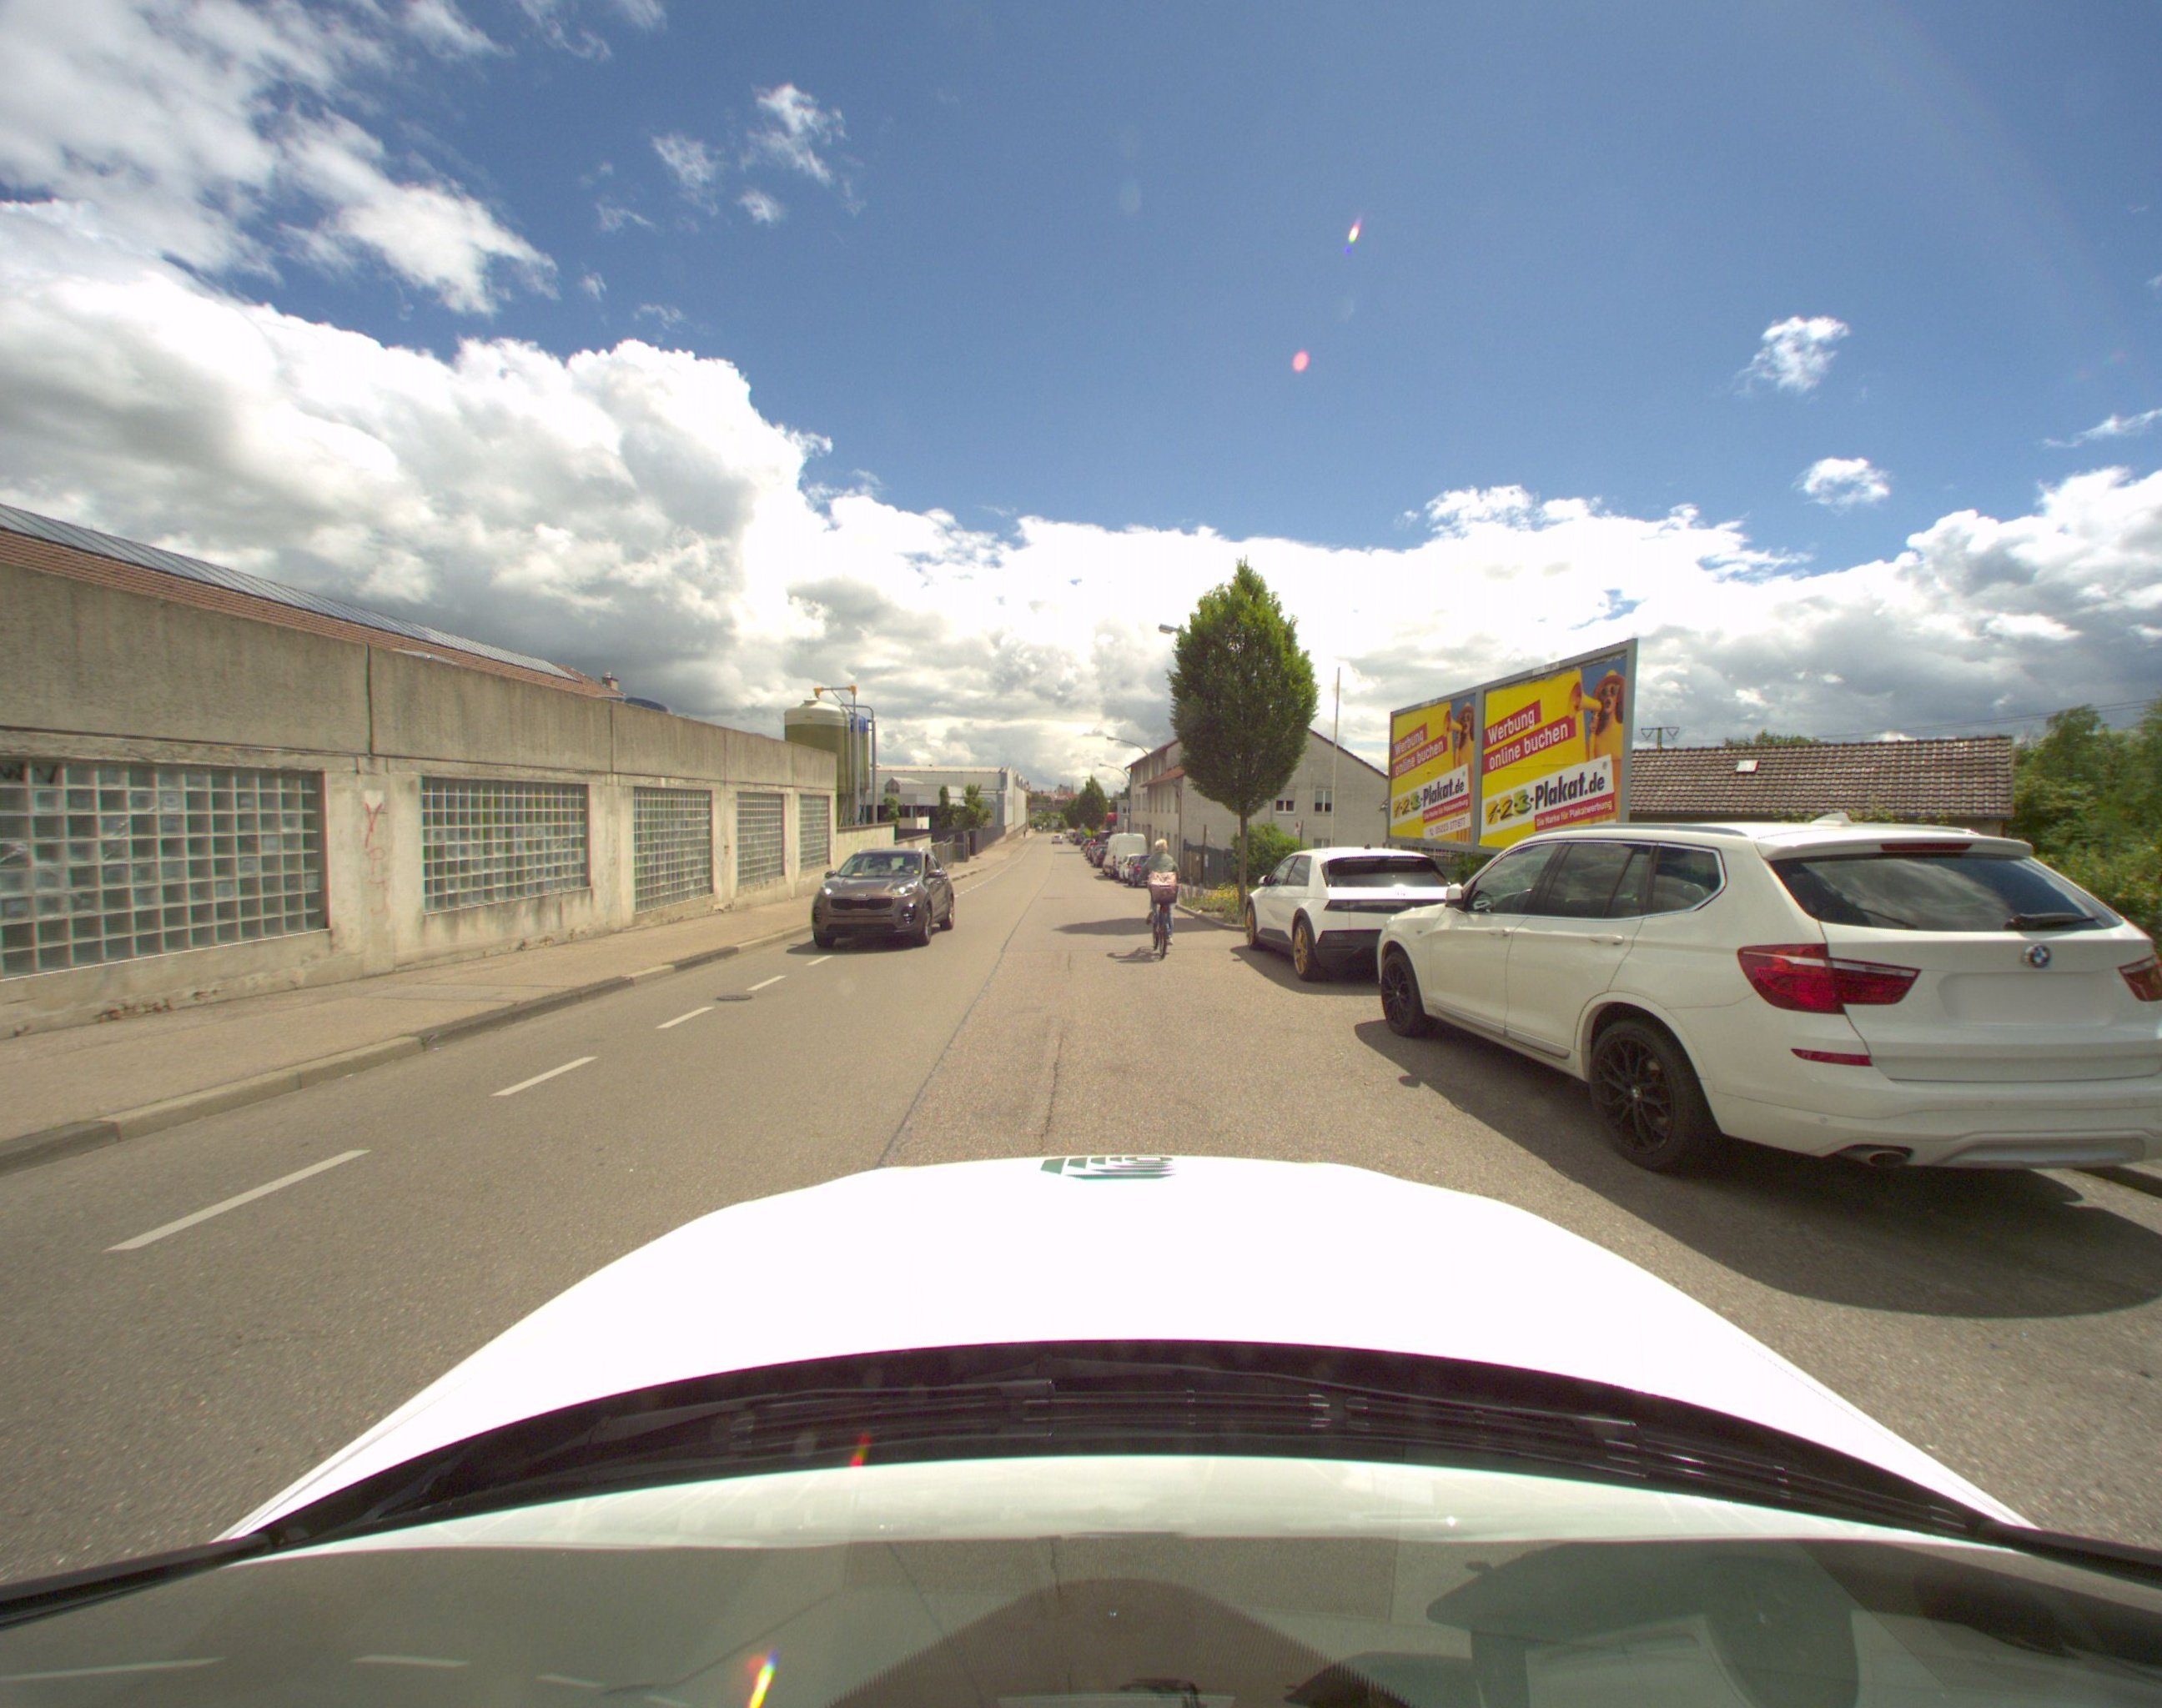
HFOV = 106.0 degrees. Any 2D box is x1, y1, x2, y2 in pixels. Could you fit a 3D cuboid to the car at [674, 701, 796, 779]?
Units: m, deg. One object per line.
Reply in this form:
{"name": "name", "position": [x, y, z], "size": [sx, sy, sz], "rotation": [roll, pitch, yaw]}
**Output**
{"name": "car", "position": [-9.830, -3.194, 23.508], "size": [1.801, 1.636, 4.103], "rotation": [1, 0, -1]}

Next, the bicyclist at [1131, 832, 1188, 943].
{"name": "bicyclist", "position": [1.179, 0.497, 12.390], "size": [0.738, 1.626, 0.730], "rotation": [1, 0, -5]}

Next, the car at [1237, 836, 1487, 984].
{"name": "car", "position": [3.468, 0.609, 11.034], "size": [1.836, 1.565, 4.465], "rotation": [-1, 0, 0]}

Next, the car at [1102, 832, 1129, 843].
{"name": "car", "position": [5.030, -2.367, 119.296], "size": [1.734, 1.462, 4.027], "rotation": [-4, 3, -41]}

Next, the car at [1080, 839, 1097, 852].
{"name": "car", "position": [0.899, -1.061, 98.845], "size": [1.787, 1.465, 4.703], "rotation": [1, 1, -4]}

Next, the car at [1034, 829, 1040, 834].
{"name": "car", "position": [-13.466, -6.976, 250.977], "size": [1.848, 1.486, 3.996], "rotation": [1, 0, -3]}

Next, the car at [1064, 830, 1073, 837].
{"name": "car", "position": [-2.882, -4.720, 184.356], "size": [1.699, 1.527, 3.731], "rotation": [3, 2, -6]}

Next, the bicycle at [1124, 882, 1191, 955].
{"name": "bicycle", "position": [1.137, 0.951, 12.442], "size": [0.739, 0.975, 1.729], "rotation": [1, 0, -4]}

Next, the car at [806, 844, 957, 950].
{"name": "car", "position": [-3.421, 0.662, 14.734], "size": [1.794, 1.622, 4.090], "rotation": [-1, 0, -1]}

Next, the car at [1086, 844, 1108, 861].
{"name": "car", "position": [1.472, -0.169, 76.187], "size": [1.731, 1.423, 4.856], "rotation": [1, 2, -3]}

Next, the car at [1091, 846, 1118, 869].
{"name": "car", "position": [1.852, 0.217, 65.037], "size": [1.701, 1.509, 5.083], "rotation": [3, 2, -3]}

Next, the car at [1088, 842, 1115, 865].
{"name": "car", "position": [1.745, -0.076, 70.613], "size": [1.674, 1.637, 4.788], "rotation": [2, 2, -6]}

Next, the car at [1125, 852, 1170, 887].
{"name": "car", "position": [3.020, 0.694, 37.759], "size": [1.563, 1.510, 4.090], "rotation": [1, 0, -3]}

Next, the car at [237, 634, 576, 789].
{"name": "car", "position": [-9.957, -2.000, 12.545], "size": [1.801, 1.636, 4.103], "rotation": [1, 0, -1]}

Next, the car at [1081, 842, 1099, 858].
{"name": "car", "position": [0.893, -0.449, 83.385], "size": [1.730, 1.472, 4.259], "rotation": [1, 2, -2]}

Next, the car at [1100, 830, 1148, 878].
{"name": "car", "position": [2.485, -0.021, 48.754], "size": [2.029, 2.641, 7.273], "rotation": [1, 0, -4]}

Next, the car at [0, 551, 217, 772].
{"name": "car", "position": [-9.782, -1.678, 6.300], "size": [1.801, 1.636, 4.103], "rotation": [1, 0, -1]}

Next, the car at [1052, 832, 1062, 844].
{"name": "car", "position": [-3.821, -2.620, 131.414], "size": [1.563, 1.786, 3.602], "rotation": [1, 0, -3]}

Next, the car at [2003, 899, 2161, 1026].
{"name": "car", "position": [16.988, 1.680, 12.382], "size": [1.736, 1.685, 4.700], "rotation": [-1, 0, 17]}

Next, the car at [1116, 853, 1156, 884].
{"name": "car", "position": [2.823, 0.726, 42.600], "size": [1.589, 1.510, 3.785], "rotation": [1, 0, -4]}

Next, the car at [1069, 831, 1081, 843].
{"name": "car", "position": [-0.984, -2.898, 140.263], "size": [1.864, 1.990, 5.140], "rotation": [1, 1, -3]}

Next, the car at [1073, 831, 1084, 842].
{"name": "car", "position": [-0.337, -2.677, 125.551], "size": [1.674, 1.638, 4.122], "rotation": [1, 1, -1]}

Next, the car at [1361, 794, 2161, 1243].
{"name": "car", "position": [3.463, 0.608, 5.283], "size": [1.681, 1.659, 4.477], "rotation": [0, 0, -1]}
